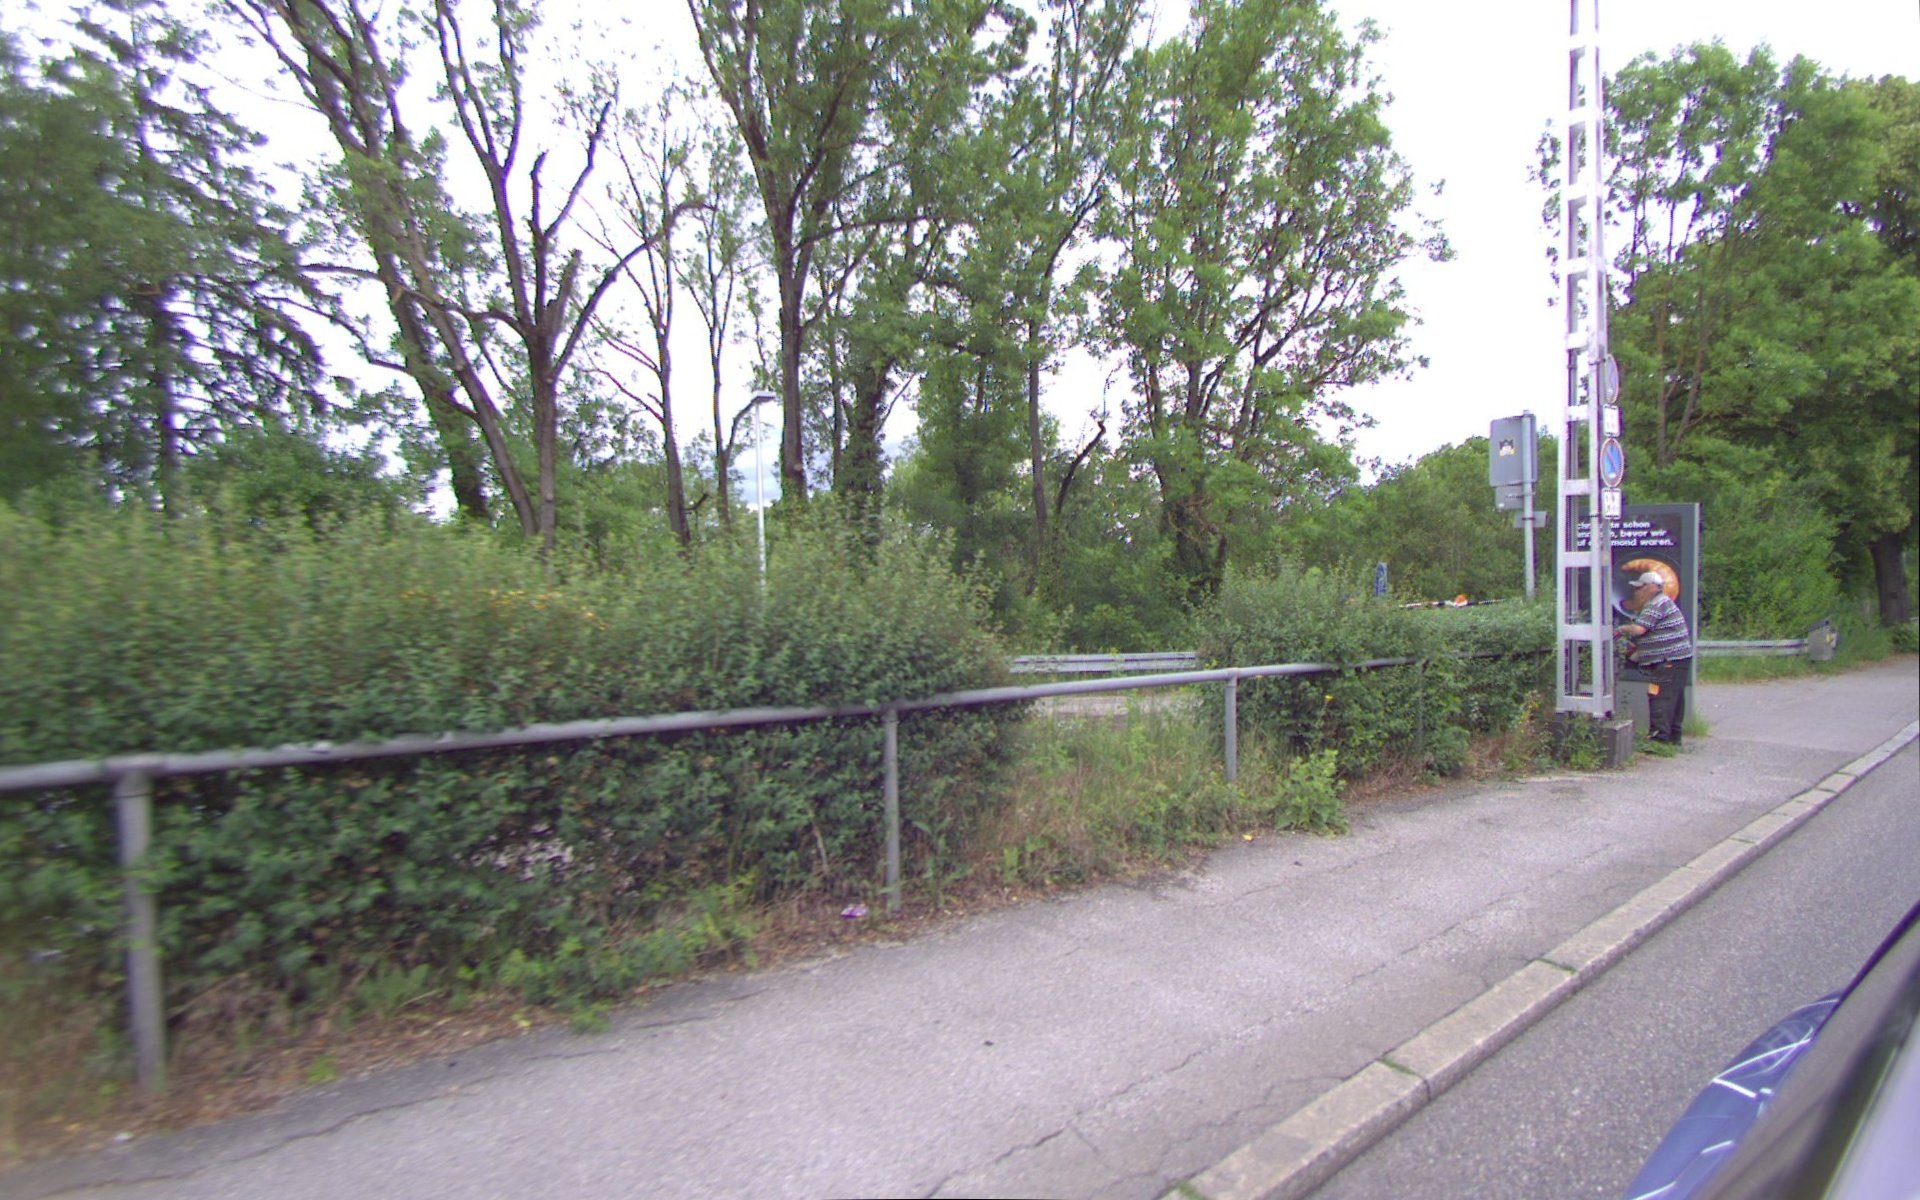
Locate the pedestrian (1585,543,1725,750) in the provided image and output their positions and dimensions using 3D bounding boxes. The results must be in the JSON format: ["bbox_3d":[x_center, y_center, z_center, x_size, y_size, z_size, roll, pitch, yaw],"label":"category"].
[{"bbox_3d":[6.808,0.416,9.914,0.931,1.907,0.815,1,2,-37],"label":"pedestrian"}]

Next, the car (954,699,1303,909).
[{"bbox_3d":[1.641,1.970,10.751,1.549,1.561,3.494,0,-2,-39],"label":"car"}]

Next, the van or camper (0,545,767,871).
[{"bbox_3d":[-5.148,0.759,9.668,6.055,2.358,2.226,1,2,-31],"label":"van or camper"}]
